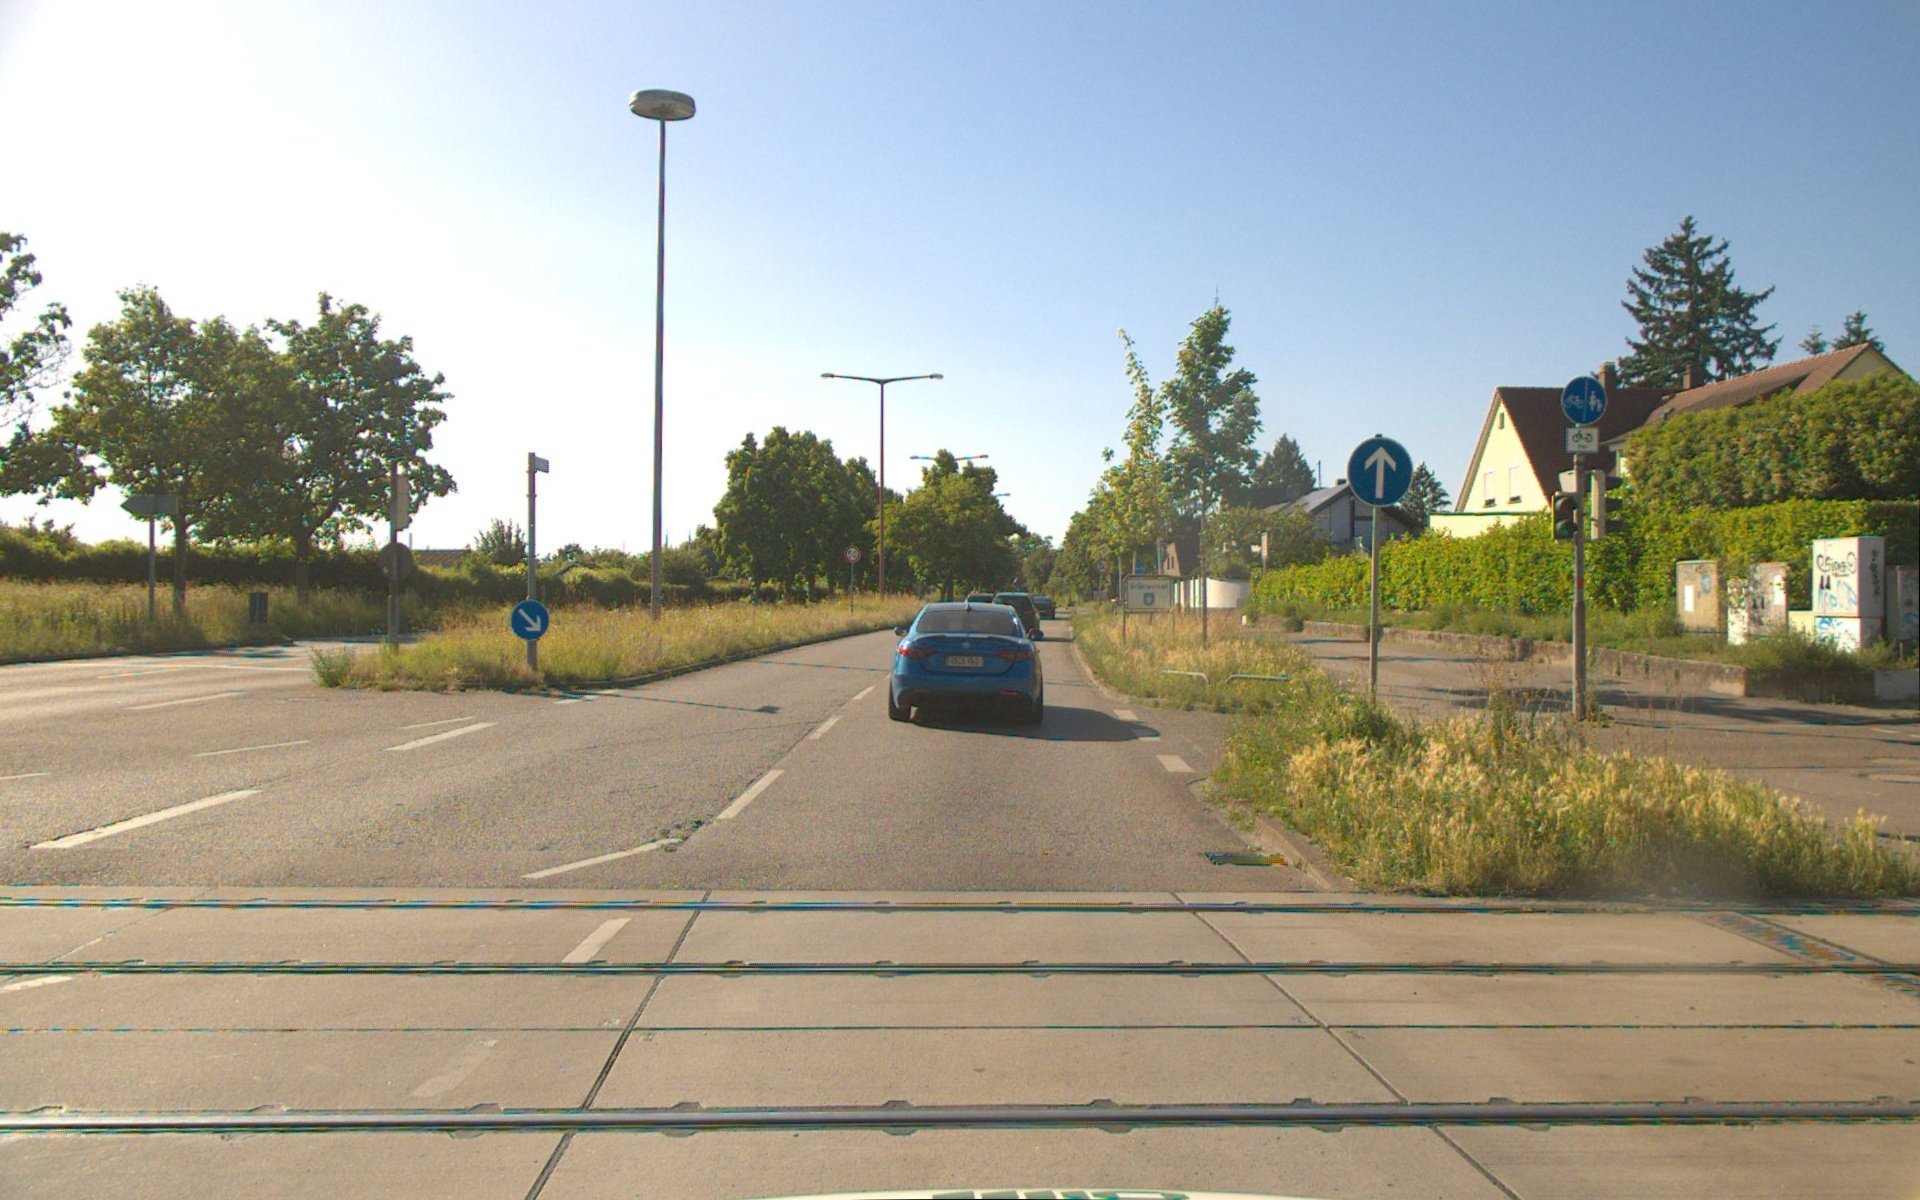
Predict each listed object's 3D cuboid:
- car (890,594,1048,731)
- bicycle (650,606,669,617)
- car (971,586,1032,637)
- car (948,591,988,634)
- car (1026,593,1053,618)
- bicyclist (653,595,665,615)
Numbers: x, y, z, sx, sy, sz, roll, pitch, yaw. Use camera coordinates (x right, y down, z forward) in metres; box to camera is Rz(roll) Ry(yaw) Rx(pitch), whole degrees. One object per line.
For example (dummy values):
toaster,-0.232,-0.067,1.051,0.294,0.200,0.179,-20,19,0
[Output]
car,0.167,0.715,21.162,1.800,1.500,4.185,1,1,2
bicycle,-19.145,0.724,105.281,0.553,0.707,1.876,1,0,10
car,1.335,0.374,54.959,1.876,1.607,4.182,1,0,0
car,0.415,0.597,81.435,1.755,2.049,4.002,1,0,3
car,5.196,0.346,107.647,1.626,1.607,3.811,1,0,4
bicyclist,-19.164,0.312,105.159,0.570,1.279,0.576,1,0,10
